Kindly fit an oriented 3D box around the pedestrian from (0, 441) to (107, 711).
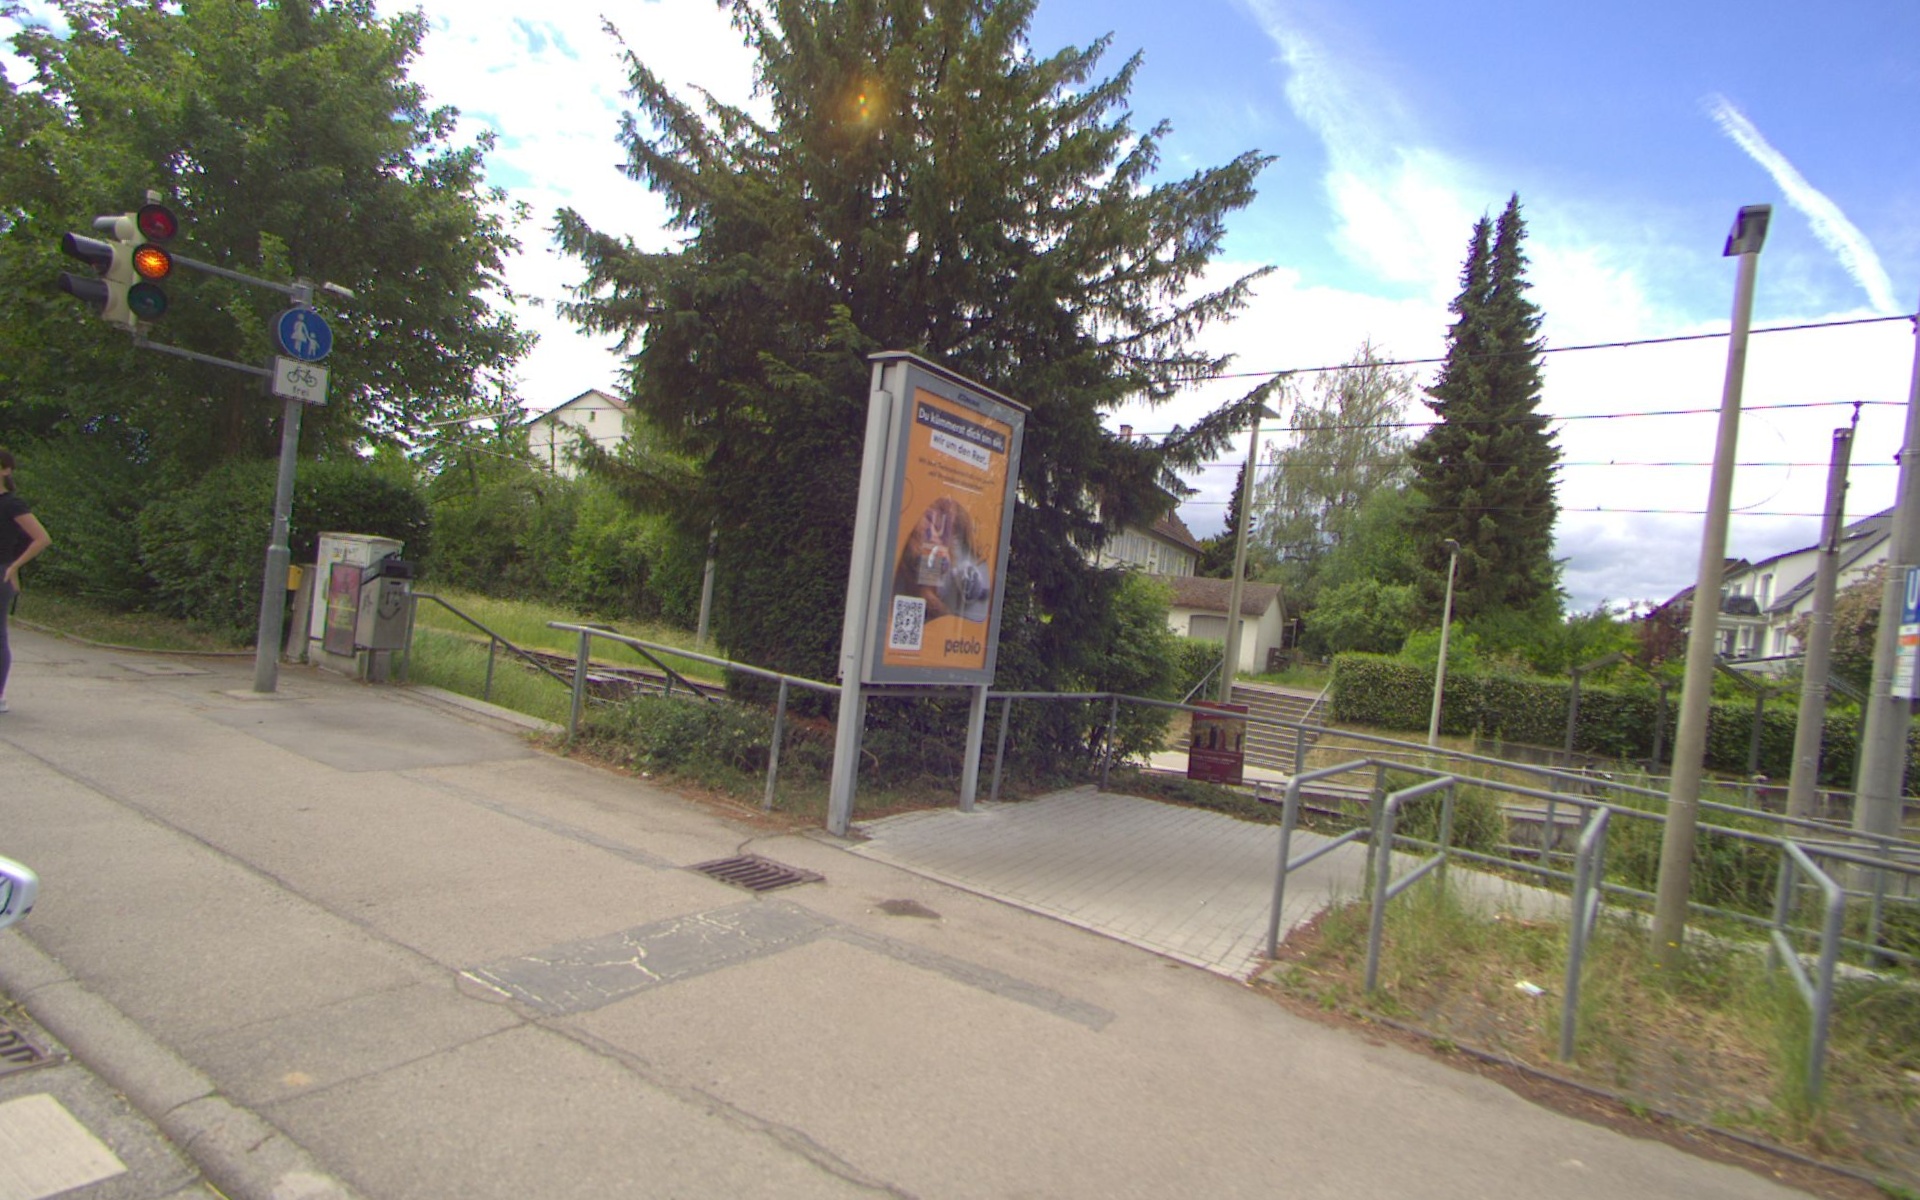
[{"bbox_3d":[-6.231,-0.164,6.606,0.697,1.684,0.648,7,-1,35],"label":"pedestrian"}]
